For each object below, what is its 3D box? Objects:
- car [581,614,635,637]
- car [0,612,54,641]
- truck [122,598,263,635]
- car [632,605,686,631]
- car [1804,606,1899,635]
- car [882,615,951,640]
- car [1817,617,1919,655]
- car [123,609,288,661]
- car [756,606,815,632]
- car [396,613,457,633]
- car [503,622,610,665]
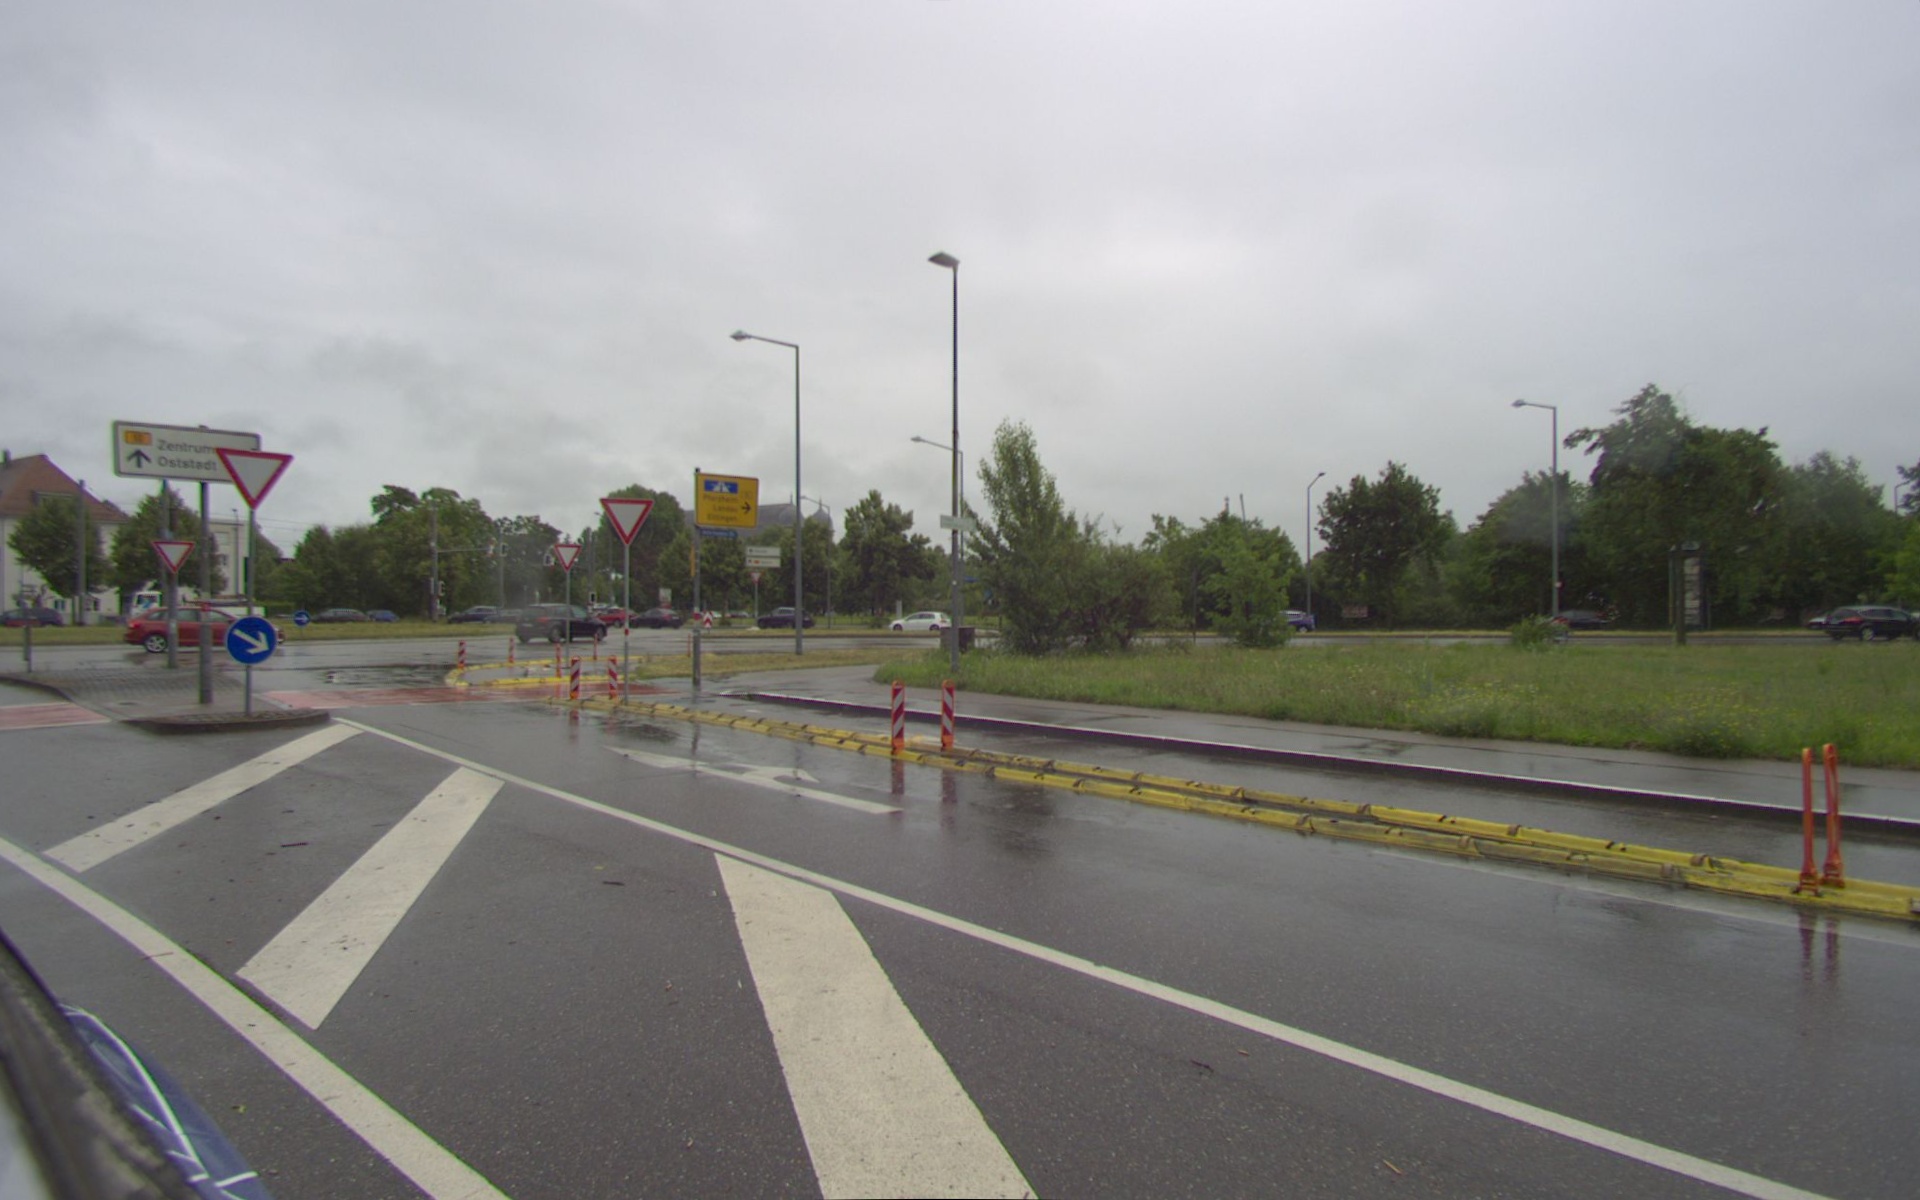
[{"bbox_3d":[-28.594,2.017,82.161,4.377,1.660,1.771,2,1,31],"label":"car"},{"bbox_3d":[-61.199,1.713,64.617,1.777,1.757,4.800,2,1,41],"label":"car"},{"bbox_3d":[-59.673,1.281,78.942,8.651,2.731,2.005,1,1,-35],"label":"truck"},{"bbox_3d":[-21.983,1.286,73.848,4.393,1.660,1.764,2,1,42],"label":"car"},{"bbox_3d":[55.419,1.286,62.974,4.280,1.660,1.789,1,1,-1],"label":"car"},{"bbox_3d":[-2.850,1.791,66.185,4.215,1.386,1.622,2,1,19],"label":"car"},{"bbox_3d":[44.229,1.713,48.957,3.945,1.660,1.789,1,1,1],"label":"car"},{"bbox_3d":[-24.657,1.098,33.170,4.246,1.470,1.792,-1,1,-39],"label":"car"},{"bbox_3d":[-12.568,1.363,72.820,4.384,1.660,1.766,2,1,39],"label":"car"},{"bbox_3d":[-41.330,1.767,78.515,3.932,1.461,1.853,0,-1,-17],"label":"car"},{"bbox_3d":[-16.703,1.772,42.145,1.775,1.529,4.305,0,1,19],"label":"car"}]
